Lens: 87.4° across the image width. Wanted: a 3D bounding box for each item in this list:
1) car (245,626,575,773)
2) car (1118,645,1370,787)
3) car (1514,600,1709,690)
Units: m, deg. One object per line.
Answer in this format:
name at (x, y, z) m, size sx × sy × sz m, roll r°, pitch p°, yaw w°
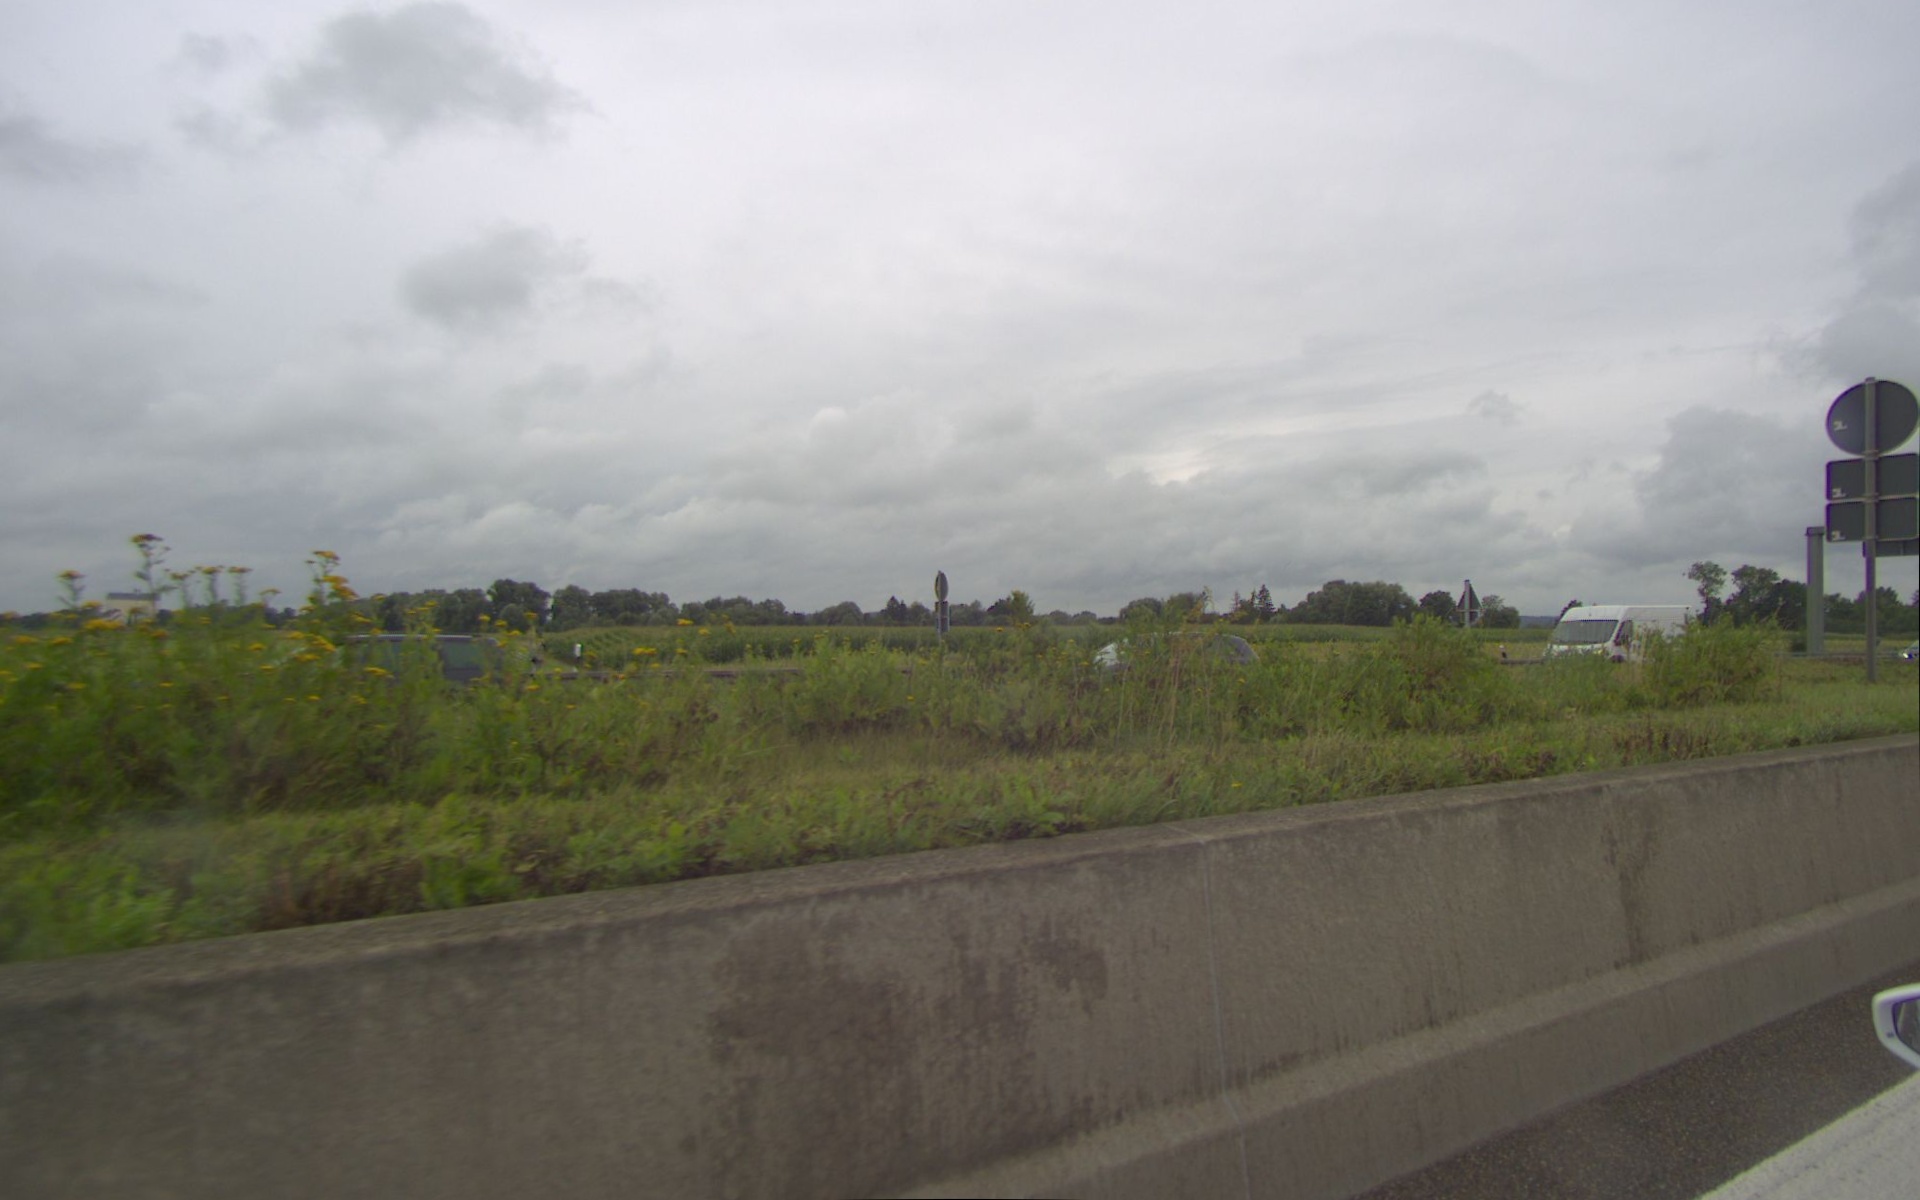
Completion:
car at (-7.573, 1.292, 14.104) m, size 3.815 × 1.798 × 1.791 m, roll 1°, pitch -3°, yaw -30°
car at (4.771, 1.812, 16.771) m, size 3.952 × 2.040 × 1.809 m, roll 1°, pitch 0°, yaw -30°
car at (20.454, 1.386, 31.410) m, size 6.824 × 2.563 × 2.235 m, roll 2°, pitch 0°, yaw -30°
